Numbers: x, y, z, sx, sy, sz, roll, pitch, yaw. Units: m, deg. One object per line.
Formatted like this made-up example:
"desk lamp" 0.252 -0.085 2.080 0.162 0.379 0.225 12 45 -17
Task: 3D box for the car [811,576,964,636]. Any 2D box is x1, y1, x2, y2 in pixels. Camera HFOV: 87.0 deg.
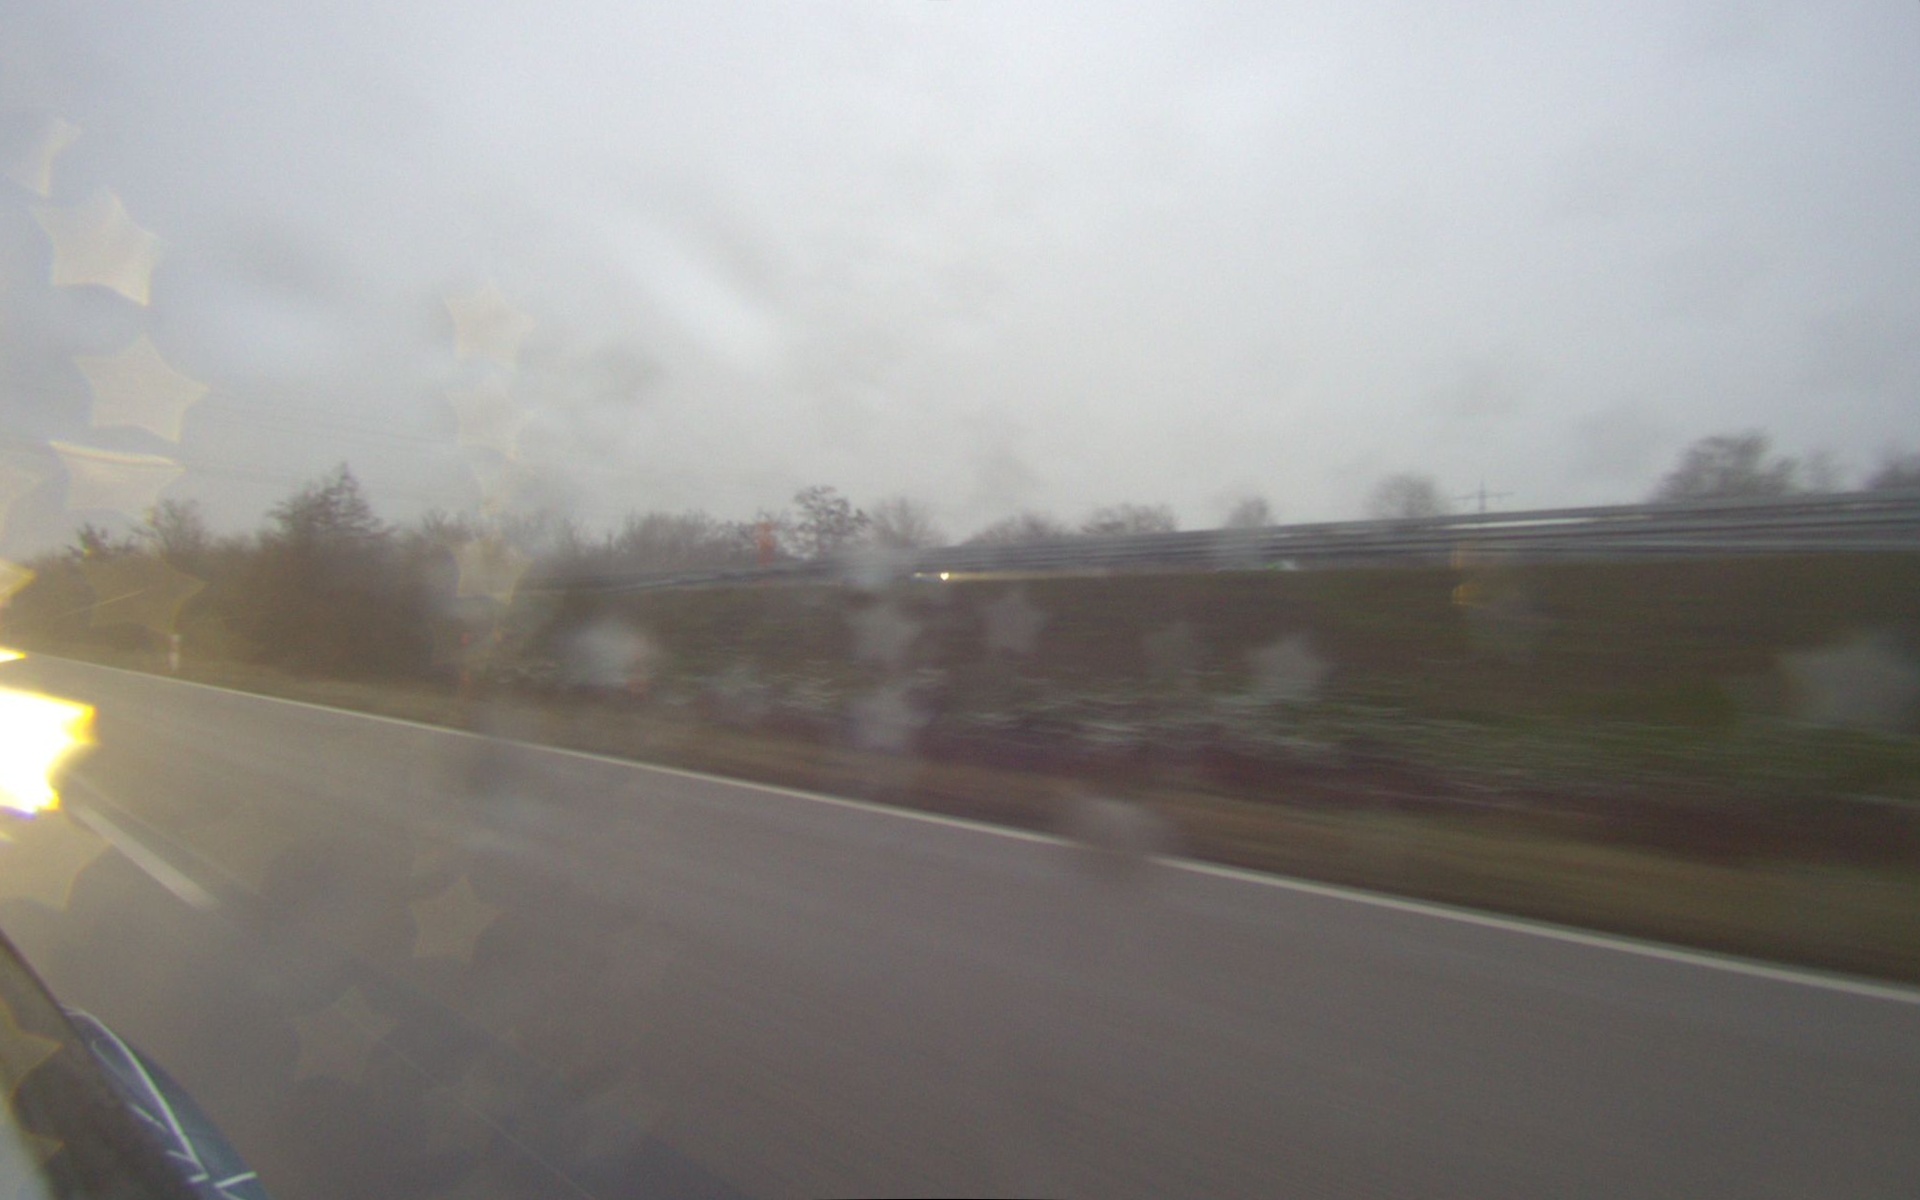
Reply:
"car" -2.717 0.218 37.077 5.600 2.029 2.288 -1 0 41

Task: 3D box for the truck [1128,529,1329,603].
"truck" 8.226 -0.971 31.375 5.600 2.029 2.288 -1 0 41
